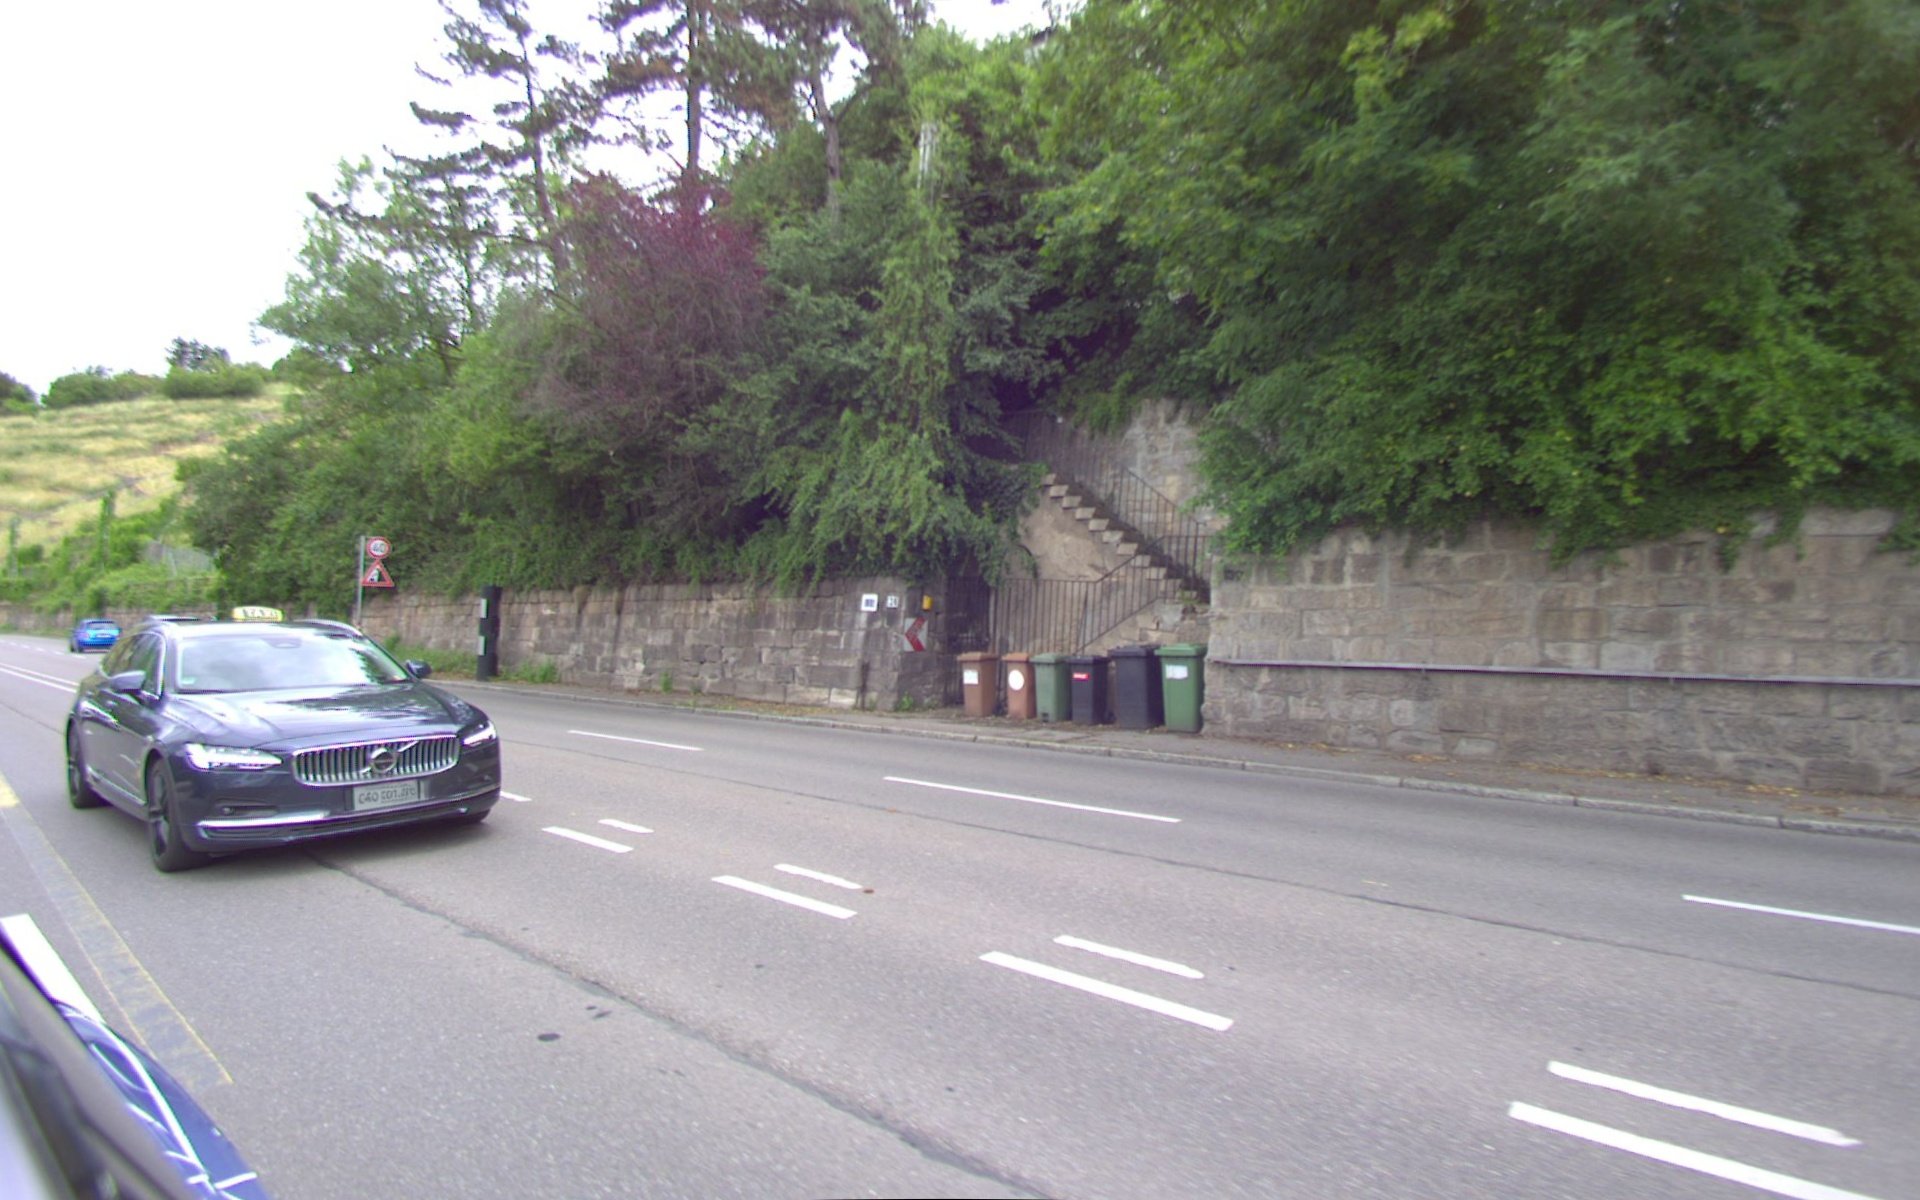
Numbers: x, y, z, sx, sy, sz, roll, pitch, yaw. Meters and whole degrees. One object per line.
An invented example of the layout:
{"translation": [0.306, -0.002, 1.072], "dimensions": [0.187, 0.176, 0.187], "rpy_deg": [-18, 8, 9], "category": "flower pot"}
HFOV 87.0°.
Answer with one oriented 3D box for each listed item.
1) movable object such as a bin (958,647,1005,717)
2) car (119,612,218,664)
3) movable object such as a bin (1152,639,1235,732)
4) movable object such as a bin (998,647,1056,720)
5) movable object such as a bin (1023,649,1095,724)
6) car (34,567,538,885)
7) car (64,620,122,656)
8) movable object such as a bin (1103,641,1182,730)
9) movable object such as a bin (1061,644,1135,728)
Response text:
{"translation": [0.309, 1.169, 14.600], "dimensions": [0.473, 0.973, 0.512], "rpy_deg": [-1, -2, 38], "category": "movable object such as a bin"}
{"translation": [-27.434, 1.264, 35.018], "dimensions": [4.466, 1.710, 1.797], "rpy_deg": [-1, -1, 40], "category": "car"}
{"translation": [2.860, 1.018, 12.375], "dimensions": [0.708, 1.079, 0.780], "rpy_deg": [-2, -3, 38], "category": "movable object such as a bin"}
{"translation": [0.950, 1.166, 14.303], "dimensions": [0.542, 0.973, 0.667], "rpy_deg": [-1, -2, 38], "category": "movable object such as a bin"}
{"translation": [1.360, 1.166, 13.882], "dimensions": [0.593, 0.953, 0.907], "rpy_deg": [-1, -2, 38], "category": "movable object such as a bin"}
{"translation": [-5.219, 0.656, 7.471], "dimensions": [5.025, 1.588, 1.914], "rpy_deg": [-1, 0, 42], "category": "car"}
{"translation": [-38.777, 1.682, 45.232], "dimensions": [3.523, 1.472, 1.566], "rpy_deg": [-1, 0, 42], "category": "car"}
{"translation": [2.324, 1.060, 12.882], "dimensions": [0.717, 1.070, 0.764], "rpy_deg": [-1, -2, 38], "category": "movable object such as a bin"}
{"translation": [1.832, 1.113, 13.413], "dimensions": [0.620, 1.042, 0.890], "rpy_deg": [-1, -2, 38], "category": "movable object such as a bin"}
